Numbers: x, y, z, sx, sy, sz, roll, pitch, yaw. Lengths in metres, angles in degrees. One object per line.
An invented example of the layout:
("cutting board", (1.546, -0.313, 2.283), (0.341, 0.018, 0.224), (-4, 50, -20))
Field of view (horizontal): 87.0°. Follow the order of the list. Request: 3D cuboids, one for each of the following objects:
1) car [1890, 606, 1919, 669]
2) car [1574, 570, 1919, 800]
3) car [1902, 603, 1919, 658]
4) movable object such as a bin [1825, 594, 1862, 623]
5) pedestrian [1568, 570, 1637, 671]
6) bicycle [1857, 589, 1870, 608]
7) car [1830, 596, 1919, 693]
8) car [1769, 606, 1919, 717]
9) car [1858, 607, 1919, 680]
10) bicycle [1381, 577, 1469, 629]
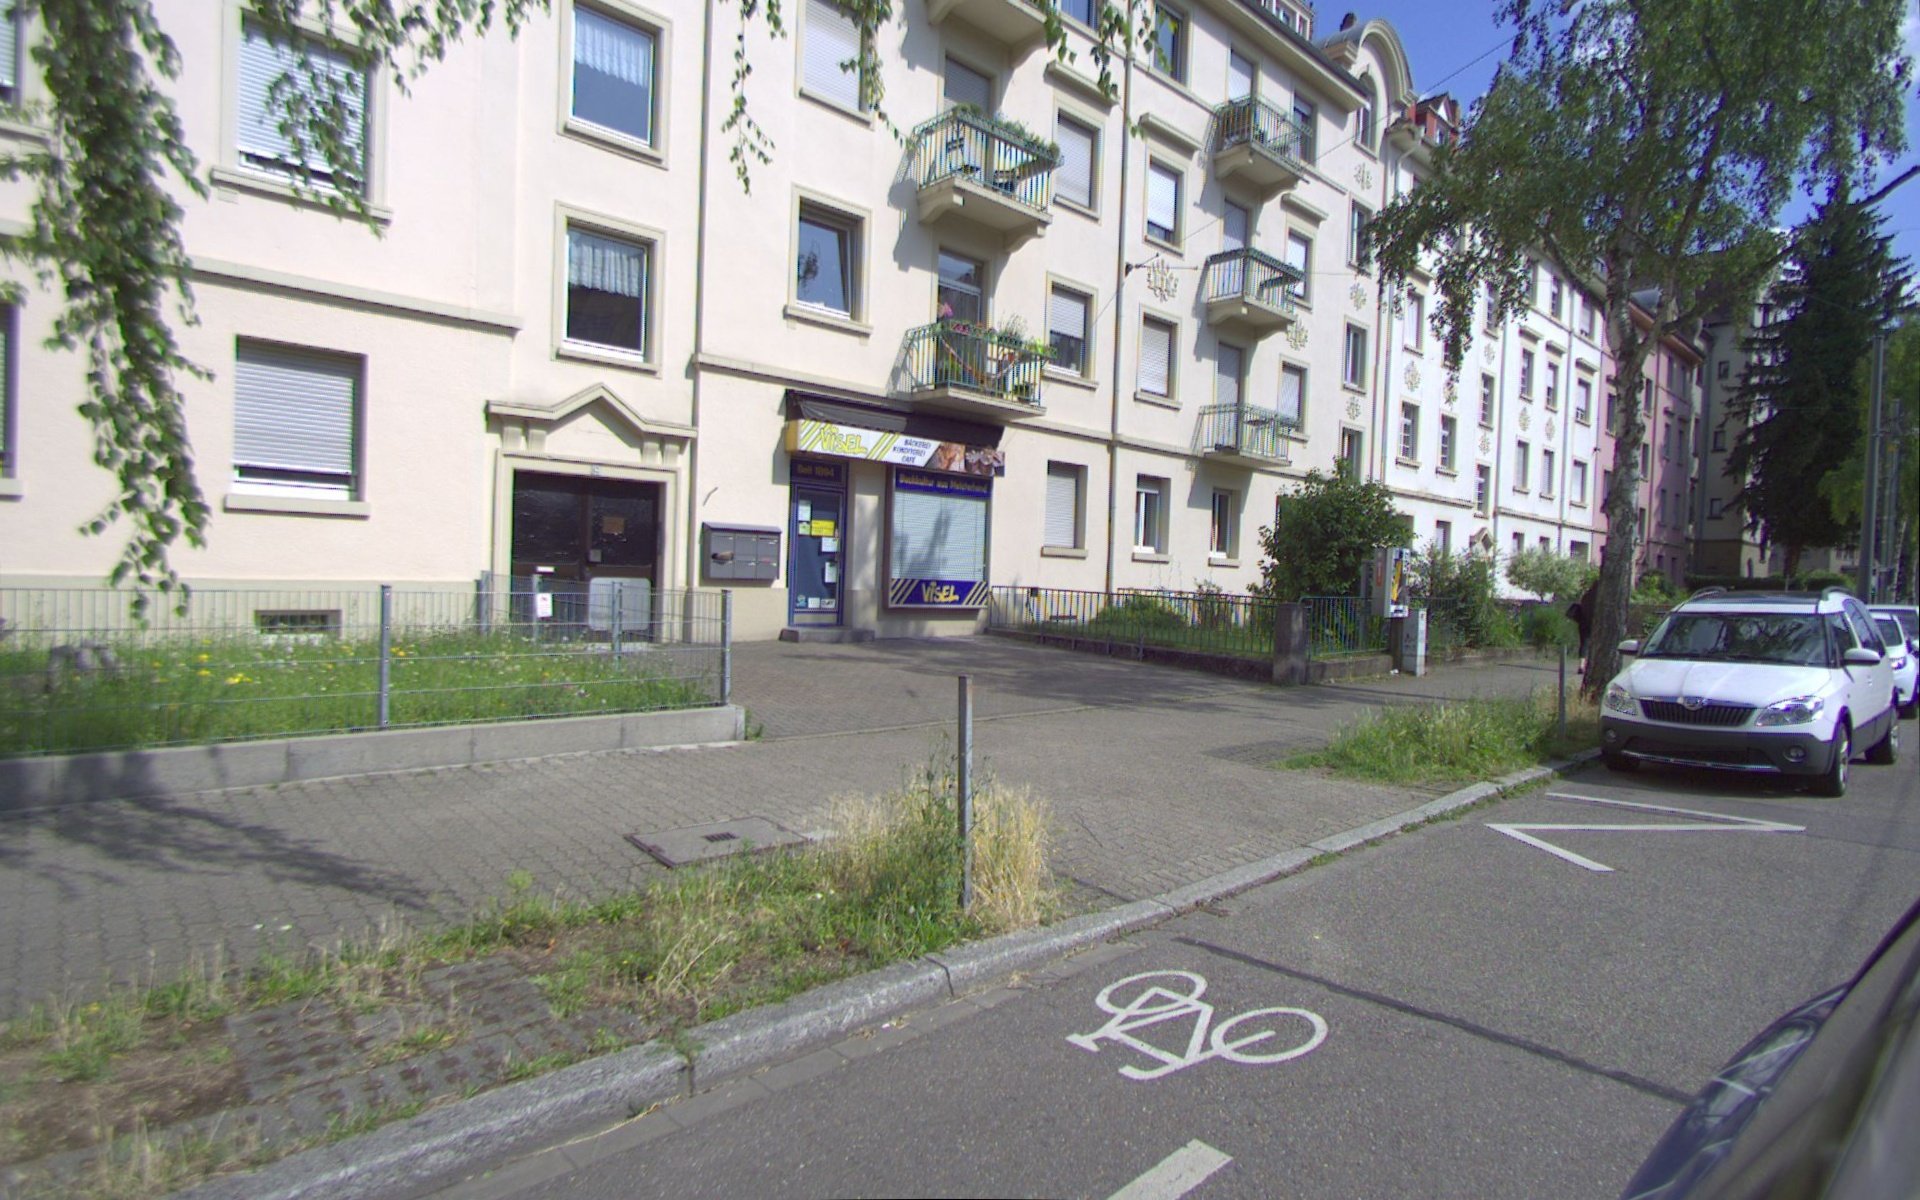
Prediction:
("car", (23.998, 0.877, 24.684), (3.852, 1.471, 1.621), (0, -1, -43))
("car", (7.268, 0.612, 9.196), (3.929, 1.650, 1.725), (0, 0, -40))
("car", (28.705, 0.876, 29.323), (4.450, 1.540, 1.793), (1, -1, -43))
("movable object such as a bin", (50.248, 0.483, 57.551), (1.965, 1.510, 1.304), (1, 2, -42))
("pedestrian", (11.331, 0.353, 17.863), (0.678, 1.703, 0.732), (1, 4, -39))
("bicycle", (51.581, -0.101, 57.754), (1.456, 1.034, 0.350), (1, 5, -44))
("car", (16.884, 0.748, 18.247), (3.697, 1.599, 1.494), (1, 0, -44))
("car", (13.374, 0.813, 14.990), (3.731, 1.435, 1.674), (0, 0, -43))
("car", (20.651, 0.883, 21.792), (3.779, 1.471, 1.590), (0, -1, -43))
("bicycle", (12.323, 0.071, 26.866), (0.661, 1.267, 1.975), (1, 2, -43))
